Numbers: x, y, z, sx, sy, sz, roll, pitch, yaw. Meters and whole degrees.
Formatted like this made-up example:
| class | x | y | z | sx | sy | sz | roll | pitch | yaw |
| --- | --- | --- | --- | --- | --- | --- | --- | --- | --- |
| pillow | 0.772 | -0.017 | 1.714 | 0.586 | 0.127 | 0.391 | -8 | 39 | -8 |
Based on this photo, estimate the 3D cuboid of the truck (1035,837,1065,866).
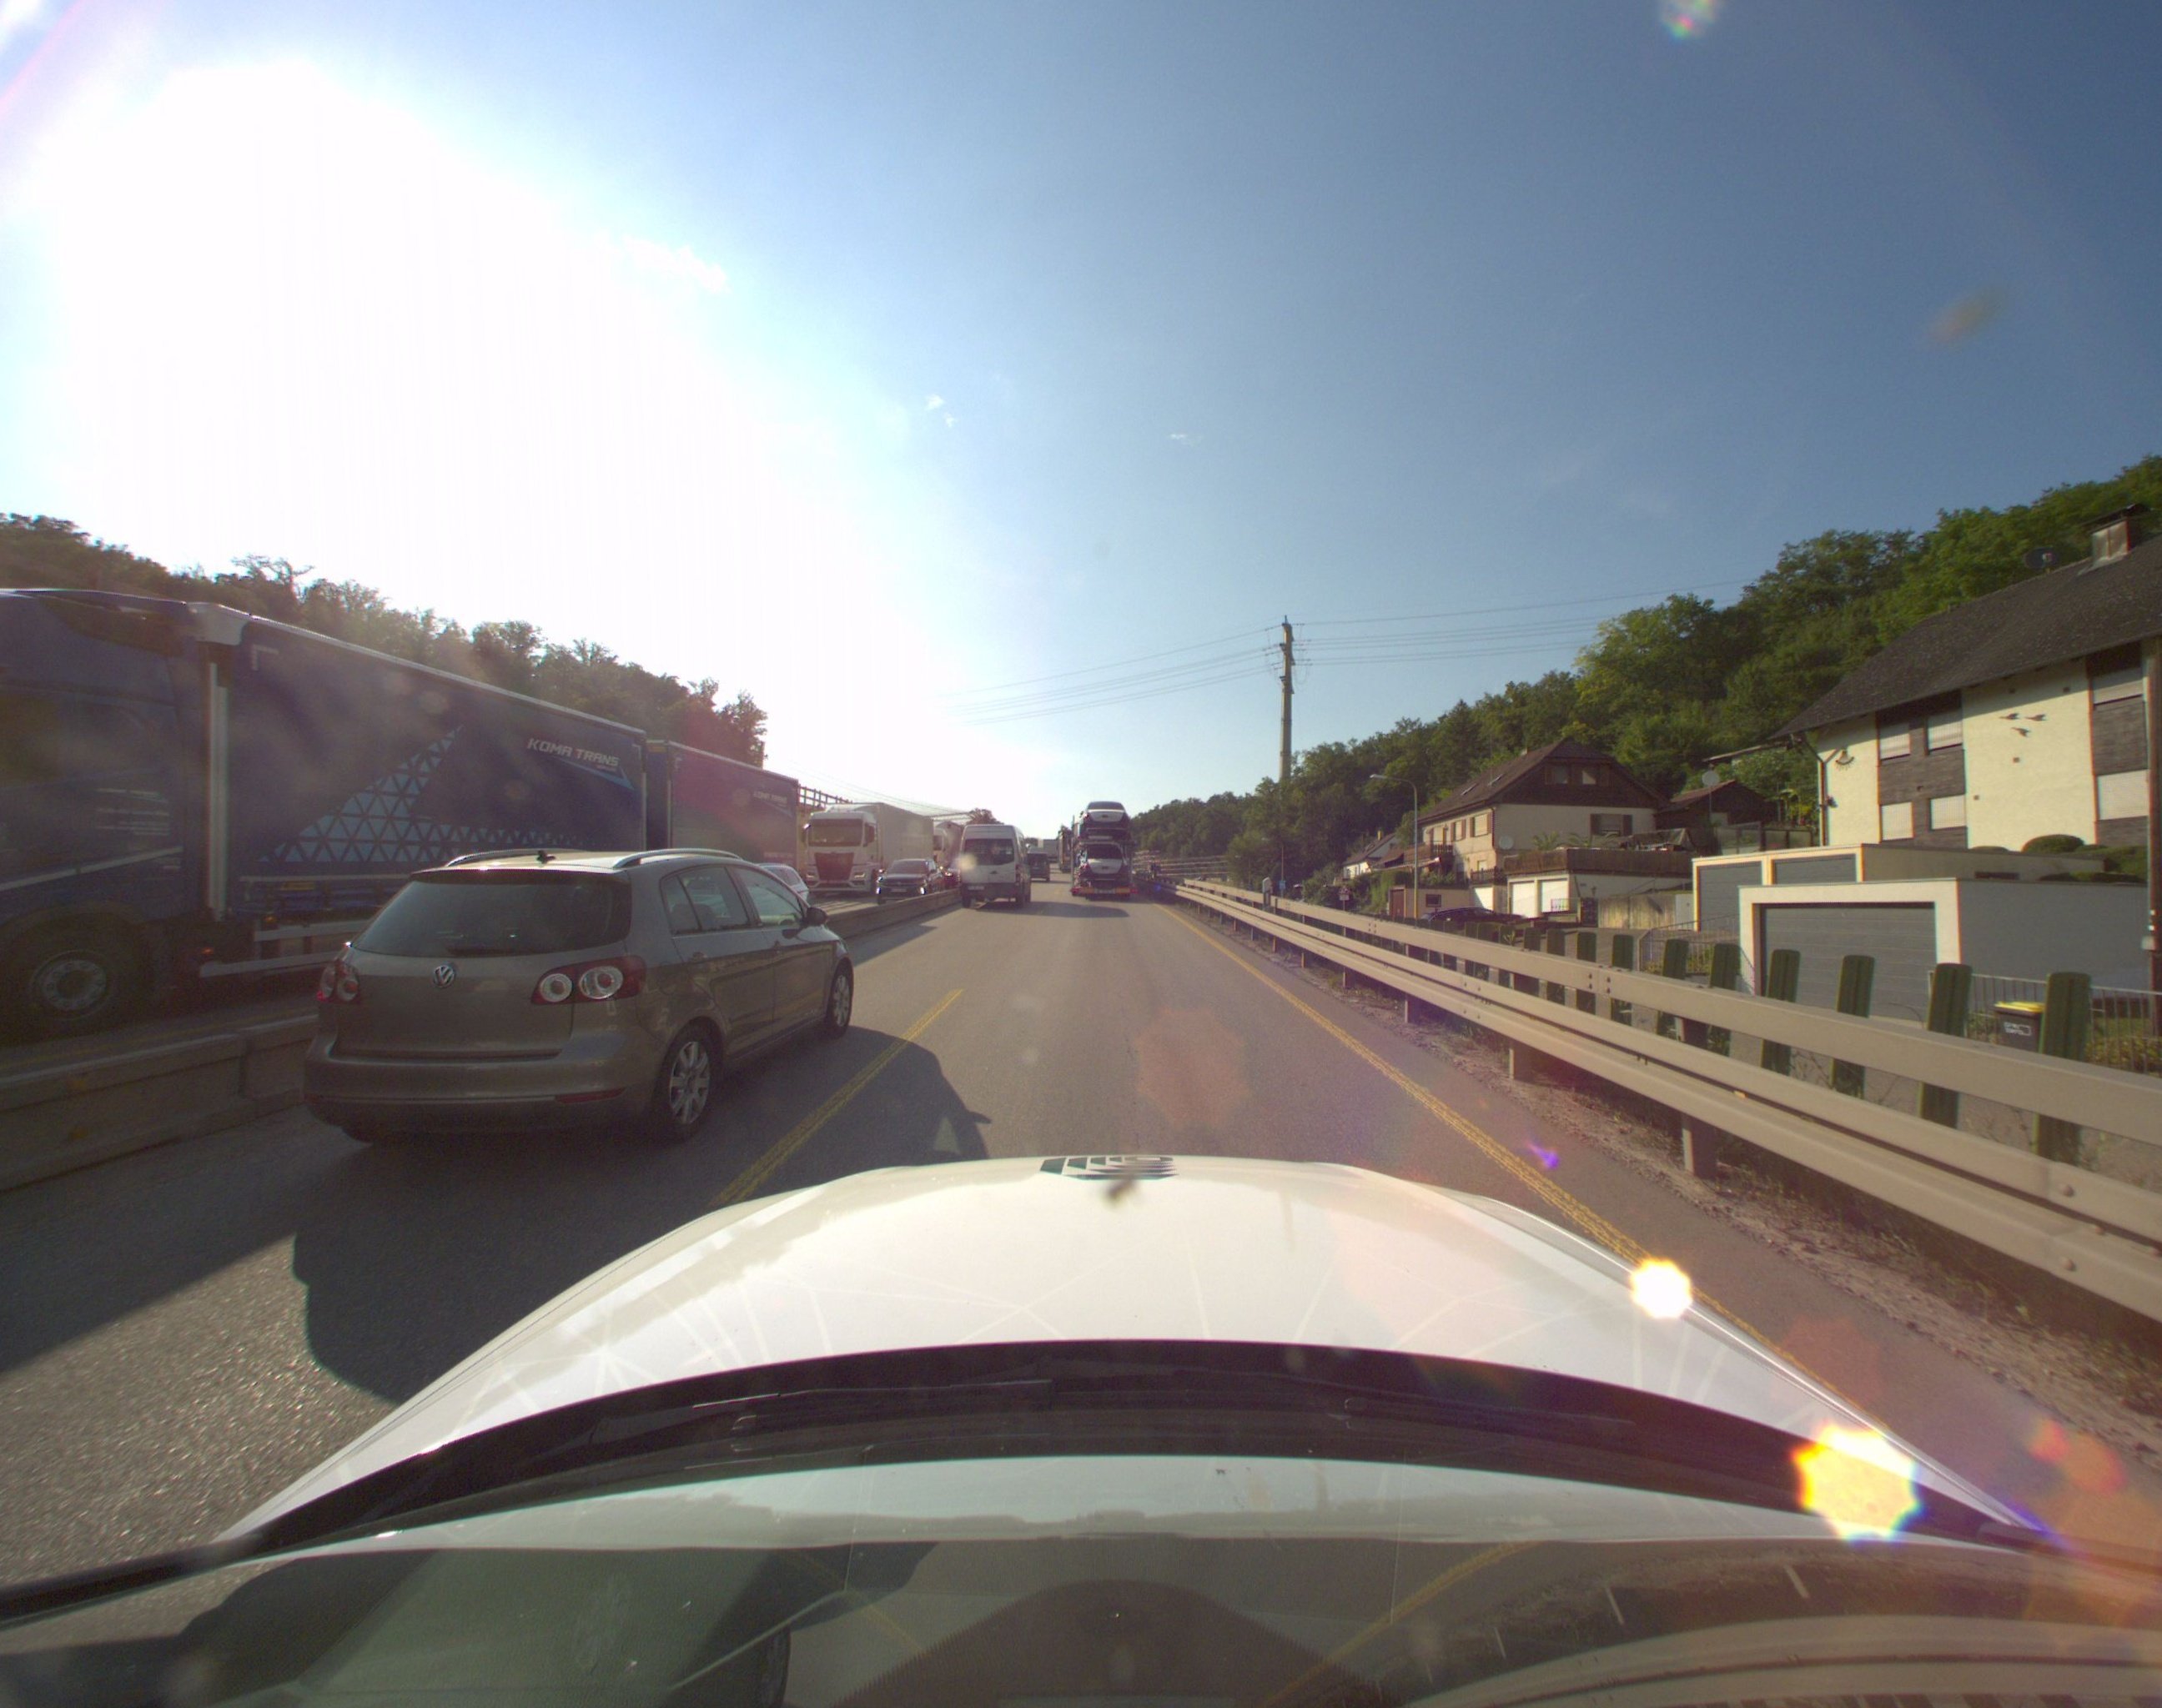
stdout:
| class | x | y | z | sx | sy | sz | roll | pitch | yaw |
| --- | --- | --- | --- | --- | --- | --- | --- | --- | --- |
| truck | -5.508 | -0.402 | 142.115 | 4.063 | 4.679 | 10.560 | 2 | -1 | -8 |

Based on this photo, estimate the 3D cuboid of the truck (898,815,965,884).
| class | x | y | z | sx | sy | sz | roll | pitch | yaw |
| --- | --- | --- | --- | --- | --- | --- | --- | --- | --- |
| truck | -9.918 | -0.229 | 54.874 | 2.973 | 4.153 | 7.389 | 3 | -1 | -1 |

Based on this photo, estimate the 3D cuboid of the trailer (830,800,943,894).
| class | x | y | z | sx | sy | sz | roll | pitch | yaw |
| --- | --- | --- | --- | --- | --- | --- | --- | --- | --- |
| trailer | -9.833 | -0.180 | 43.021 | 2.701 | 4.093 | 12.565 | 3 | -1 | 0 |

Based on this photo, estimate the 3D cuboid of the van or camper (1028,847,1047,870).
| class | x | y | z | sx | sy | sz | roll | pitch | yaw |
| --- | --- | --- | --- | --- | --- | --- | --- | --- | --- |
| van or camper | -5.242 | 0.603 | 97.787 | 1.962 | 2.592 | 5.038 | 3 | -1 | -1 |

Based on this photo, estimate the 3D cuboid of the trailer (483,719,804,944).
| class | x | y | z | sx | sy | sz | roll | pitch | yaw |
| --- | --- | --- | --- | --- | --- | --- | --- | --- | --- |
| trailer | -9.698 | -0.415 | 19.813 | 2.598 | 4.112 | 9.625 | -1 | 0 | 0 |

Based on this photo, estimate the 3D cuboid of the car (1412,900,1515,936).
| class | x | y | z | sx | sy | sz | roll | pitch | yaw |
| --- | --- | --- | --- | --- | --- | --- | --- | --- | --- |
| car | 17.933 | 2.985 | 38.280 | 3.972 | 1.442 | 1.891 | 3 | -3 | 1 |

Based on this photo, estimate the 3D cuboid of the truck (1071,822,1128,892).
| class | x | y | z | sx | sy | sz | roll | pitch | yaw |
| --- | --- | --- | --- | --- | --- | --- | --- | --- | --- |
| truck | 0.911 | 0.243 | 45.473 | 2.677 | 3.535 | 7.184 | 0 | -1 | -3 |

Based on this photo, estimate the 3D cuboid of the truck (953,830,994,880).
| class | x | y | z | sx | sy | sz | roll | pitch | yaw |
| --- | --- | --- | --- | --- | --- | --- | --- | --- | --- |
| truck | -9.883 | 0.122 | 75.546 | 2.427 | 4.356 | 7.520 | 2 | -1 | 1 |

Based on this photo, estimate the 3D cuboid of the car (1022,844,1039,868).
| class | x | y | z | sx | sy | sz | roll | pitch | yaw |
| --- | --- | --- | --- | --- | --- | --- | --- | --- | --- |
| car | -11.556 | 0.414 | 184.781 | 3.440 | 5.035 | 9.634 | 3 | -1 | -5 |

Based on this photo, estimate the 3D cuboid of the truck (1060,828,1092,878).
| class | x | y | z | sx | sy | sz | roll | pitch | yaw |
| --- | --- | --- | --- | --- | --- | --- | --- | --- | --- |
| truck | -0.455 | -0.079 | 80.234 | 2.898 | 4.607 | 7.284 | 2 | -1 | 0 |

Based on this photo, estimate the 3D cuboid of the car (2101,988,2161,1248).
| class | x | y | z | sx | sy | sz | roll | pitch | yaw |
| --- | --- | --- | --- | --- | --- | --- | --- | --- | --- |
| car | 7.835 | 1.691 | 3.322 | 1.690 | 1.659 | 4.651 | 2 | -2 | 4 |

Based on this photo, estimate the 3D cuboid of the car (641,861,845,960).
| class | x | y | z | sx | sy | sz | roll | pitch | yaw |
| --- | --- | --- | --- | --- | --- | --- | --- | --- | --- |
| car | -6.088 | 0.965 | 15.326 | 1.765 | 1.537 | 4.404 | 2 | -2 | 2 |

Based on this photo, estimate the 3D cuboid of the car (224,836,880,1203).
| class | x | y | z | sx | sy | sz | roll | pitch | yaw |
| --- | --- | --- | --- | --- | --- | --- | --- | --- | --- |
| car | -2.864 | 0.722 | 5.722 | 1.674 | 1.588 | 4.274 | 1 | 0 | 2 |

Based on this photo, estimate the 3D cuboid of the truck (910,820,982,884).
| class | x | y | z | sx | sy | sz | roll | pitch | yaw |
| --- | --- | --- | --- | --- | --- | --- | --- | --- | --- |
| truck | -10.021 | -0.046 | 62.603 | 2.974 | 4.153 | 15.845 | 3 | -1 | -1 |

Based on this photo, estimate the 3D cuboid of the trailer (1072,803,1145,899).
| class | x | y | z | sx | sy | sz | roll | pitch | yaw |
| --- | --- | --- | --- | --- | --- | --- | --- | --- | --- |
| trailer | 1.048 | 0.069 | 37.724 | 2.674 | 3.535 | 15.284 | 0 | -1 | 0 |

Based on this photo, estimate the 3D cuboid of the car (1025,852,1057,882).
| class | x | y | z | sx | sy | sz | roll | pitch | yaw |
| --- | --- | --- | --- | --- | --- | --- | --- | --- | --- |
| car | -2.711 | 0.928 | 55.974 | 1.801 | 1.904 | 4.000 | 3 | -2 | 1 |

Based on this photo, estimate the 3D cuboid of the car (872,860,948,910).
| class | x | y | z | sx | sy | sz | roll | pitch | yaw |
| --- | --- | --- | --- | --- | --- | --- | --- | --- | --- |
| car | -5.933 | 1.061 | 28.719 | 1.655 | 1.530 | 4.000 | 3 | -1 | 1 |

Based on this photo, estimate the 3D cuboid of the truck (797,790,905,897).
| class | x | y | z | sx | sy | sz | roll | pitch | yaw |
| --- | --- | --- | --- | --- | --- | --- | --- | --- | --- |
| truck | -9.804 | -0.333 | 35.465 | 2.701 | 4.093 | 6.202 | 3 | -2 | 0 |

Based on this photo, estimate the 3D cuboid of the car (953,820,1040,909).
| class | x | y | z | sx | sy | sz | roll | pitch | yaw |
| --- | --- | --- | --- | --- | --- | --- | --- | --- | --- |
| car | -2.732 | 0.356 | 27.680 | 1.985 | 2.648 | 5.534 | 2 | -1 | 3 |

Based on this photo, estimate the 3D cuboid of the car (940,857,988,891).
| class | x | y | z | sx | sy | sz | roll | pitch | yaw |
| --- | --- | --- | --- | --- | --- | --- | --- | --- | --- |
| car | -6.235 | 1.081 | 43.785 | 1.799 | 1.684 | 4.001 | 3 | -1 | 1 |

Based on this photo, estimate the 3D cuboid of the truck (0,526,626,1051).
| class | x | y | z | sx | sy | sz | roll | pitch | yaw |
| --- | --- | --- | --- | --- | --- | --- | --- | --- | --- |
| truck | -9.739 | -0.479 | 10.184 | 2.615 | 4.113 | 9.627 | 0 | -1 | 0 |
